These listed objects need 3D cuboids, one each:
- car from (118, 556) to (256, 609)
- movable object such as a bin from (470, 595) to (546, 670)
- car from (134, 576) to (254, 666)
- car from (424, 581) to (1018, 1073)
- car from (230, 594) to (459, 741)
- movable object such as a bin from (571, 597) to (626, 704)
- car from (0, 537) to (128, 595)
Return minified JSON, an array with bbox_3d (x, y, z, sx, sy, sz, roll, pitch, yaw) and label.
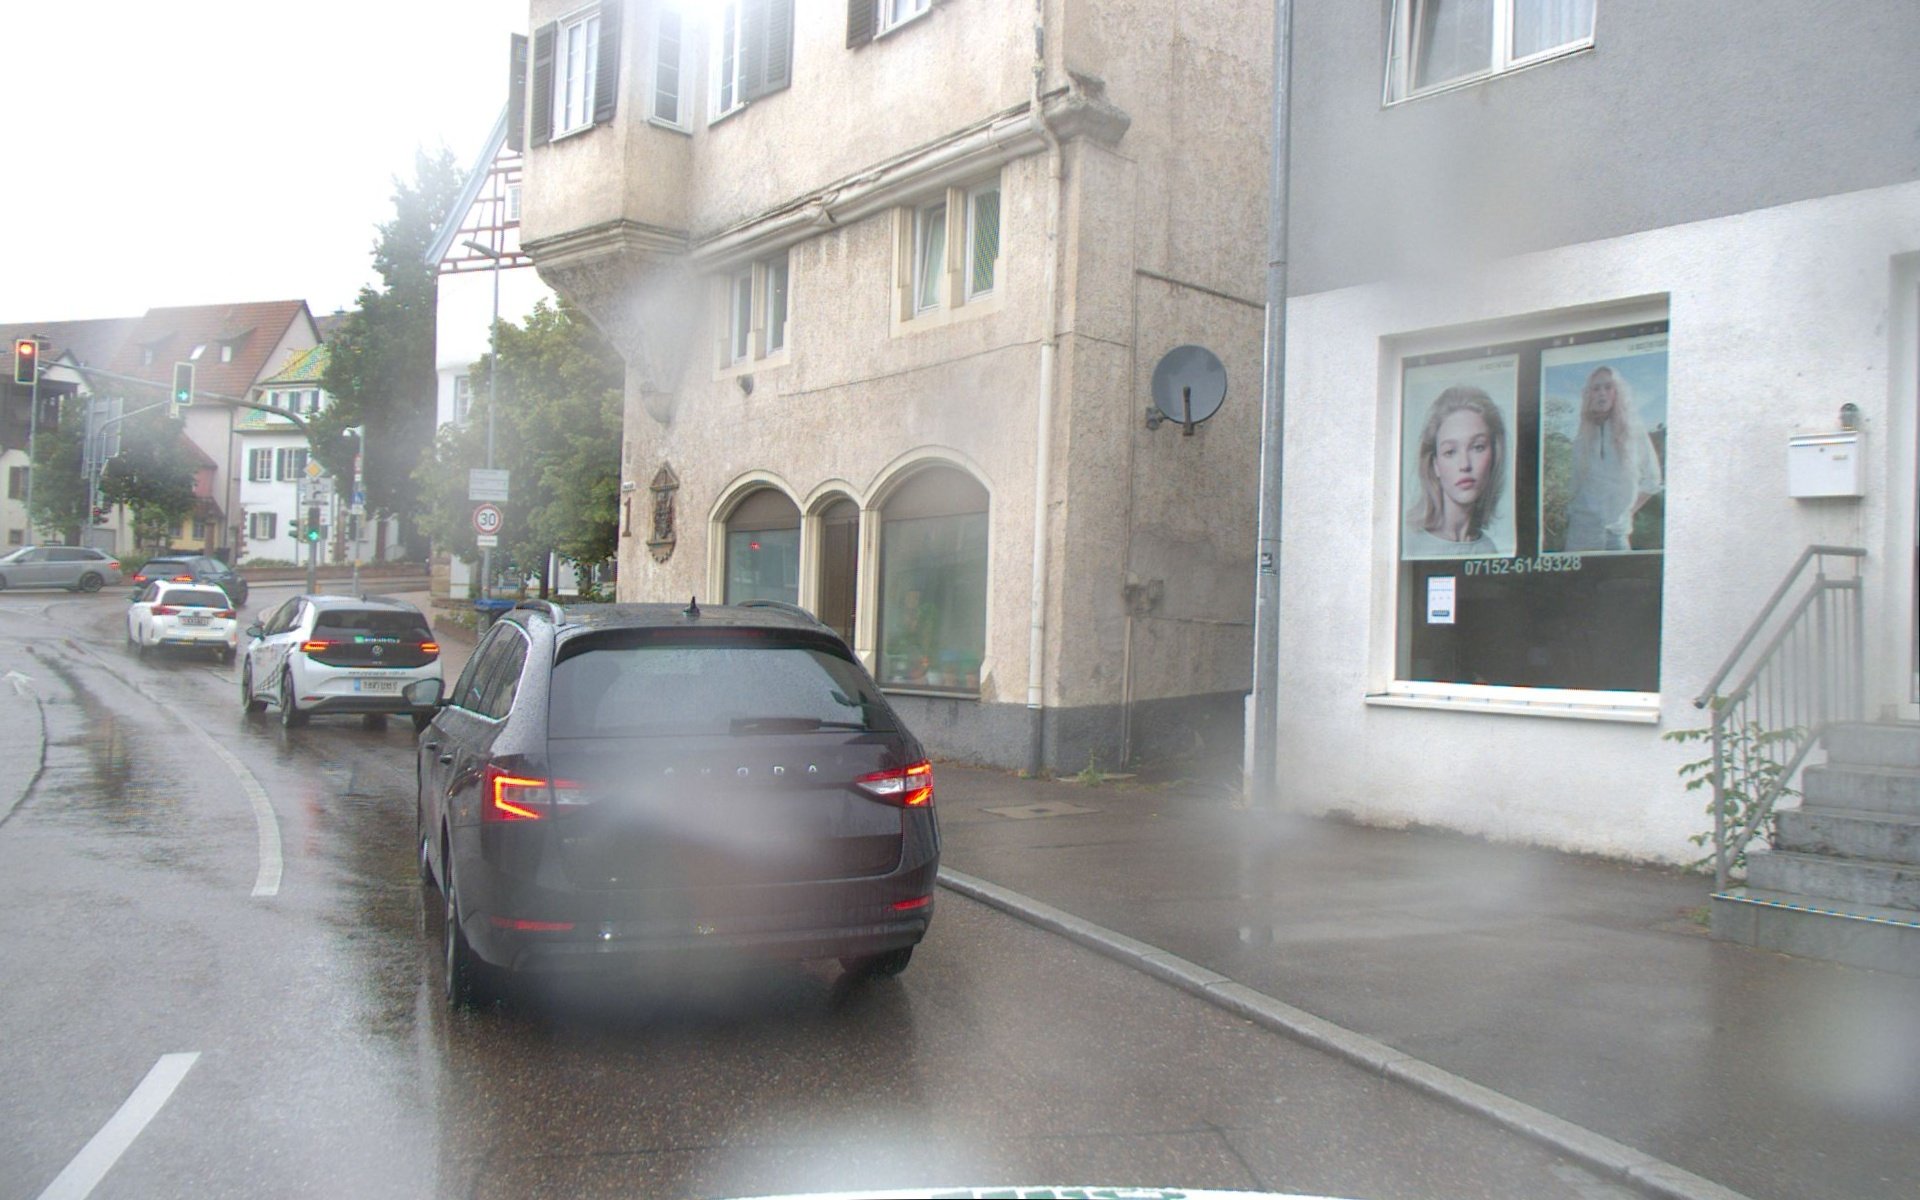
[{"bbox_3d":[-21.307,-0.483,45.752,1.953,1.324,3.999,2,0,-1],"label":"car"},{"bbox_3d":[-8.373,0.598,30.602,1.140,1.336,1.177,2,-1,-26],"label":"movable object such as a bin"},{"bbox_3d":[-15.413,0.391,33.158,1.864,1.624,4.284,2,0,-29],"label":"car"},{"bbox_3d":[-1.377,0.688,7.347,1.858,1.473,4.334,2,0,-18],"label":"car"},{"bbox_3d":[-7.707,0.743,20.506,1.840,1.498,3.955,-1,2,-33],"label":"car"},{"bbox_3d":[-5.158,0.713,23.604,0.631,1.467,0.412,4,3,35],"label":"movable object such as a bin"},{"bbox_3d":[-29.026,-1.069,52.283,1.966,1.619,4.449,1,-1,43],"label":"car"}]
